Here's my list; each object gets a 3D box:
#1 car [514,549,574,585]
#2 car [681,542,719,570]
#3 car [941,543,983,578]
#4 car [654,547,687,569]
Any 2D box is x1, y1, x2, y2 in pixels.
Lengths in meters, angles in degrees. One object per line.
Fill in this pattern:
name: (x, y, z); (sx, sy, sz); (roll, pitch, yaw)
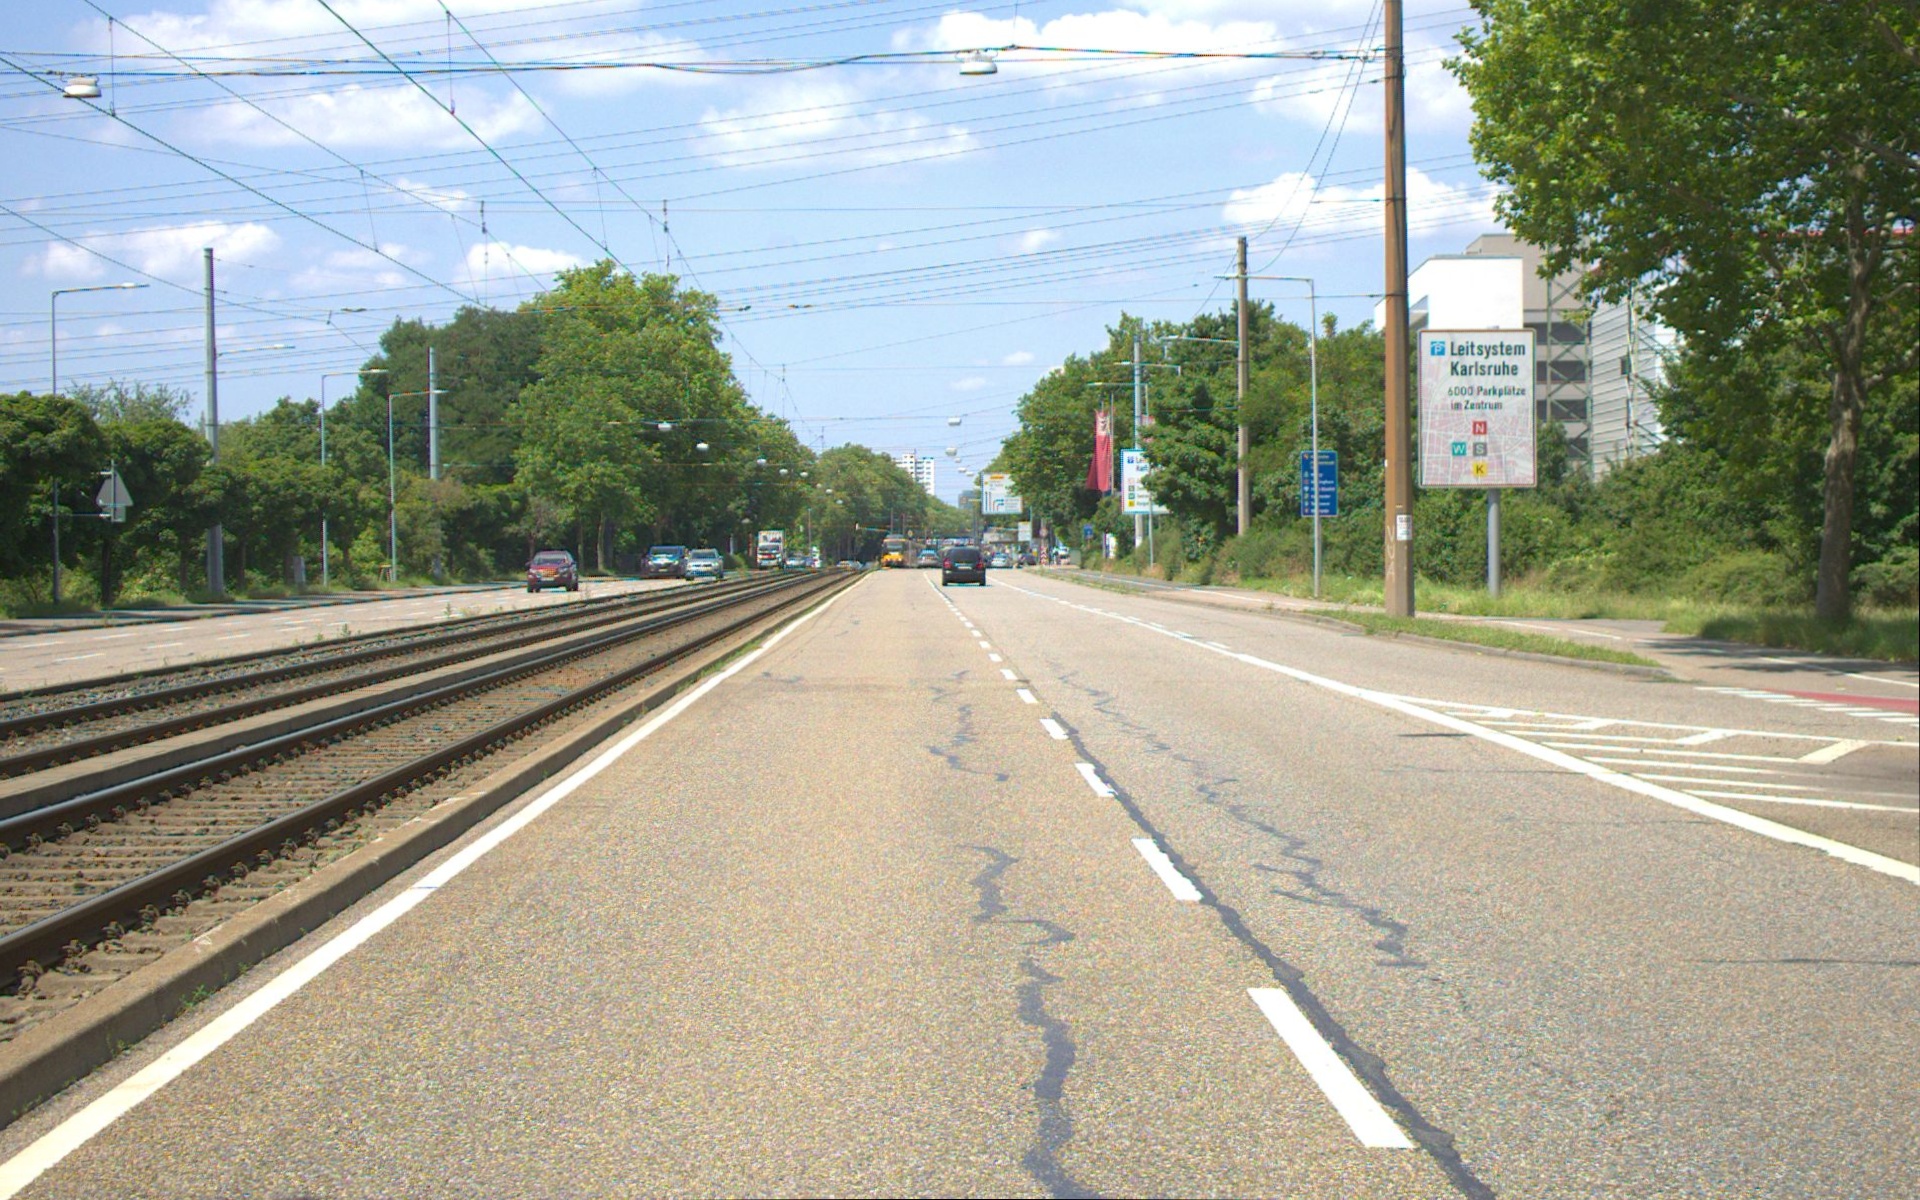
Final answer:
car: (-16.415, -1.314, 135.943); (1.875, 1.327, 3.918); (-2, 1, 0)
car: (-13.607, -2.310, 179.969); (1.716, 1.423, 3.901); (-1, 1, -1)
car: (0.080, -1.635, 140.649); (1.586, 1.338, 3.273); (-1, 2, -2)
car: (-16.927, -2.464, 201.072); (1.601, 1.268, 3.836); (-1, 1, 0)
